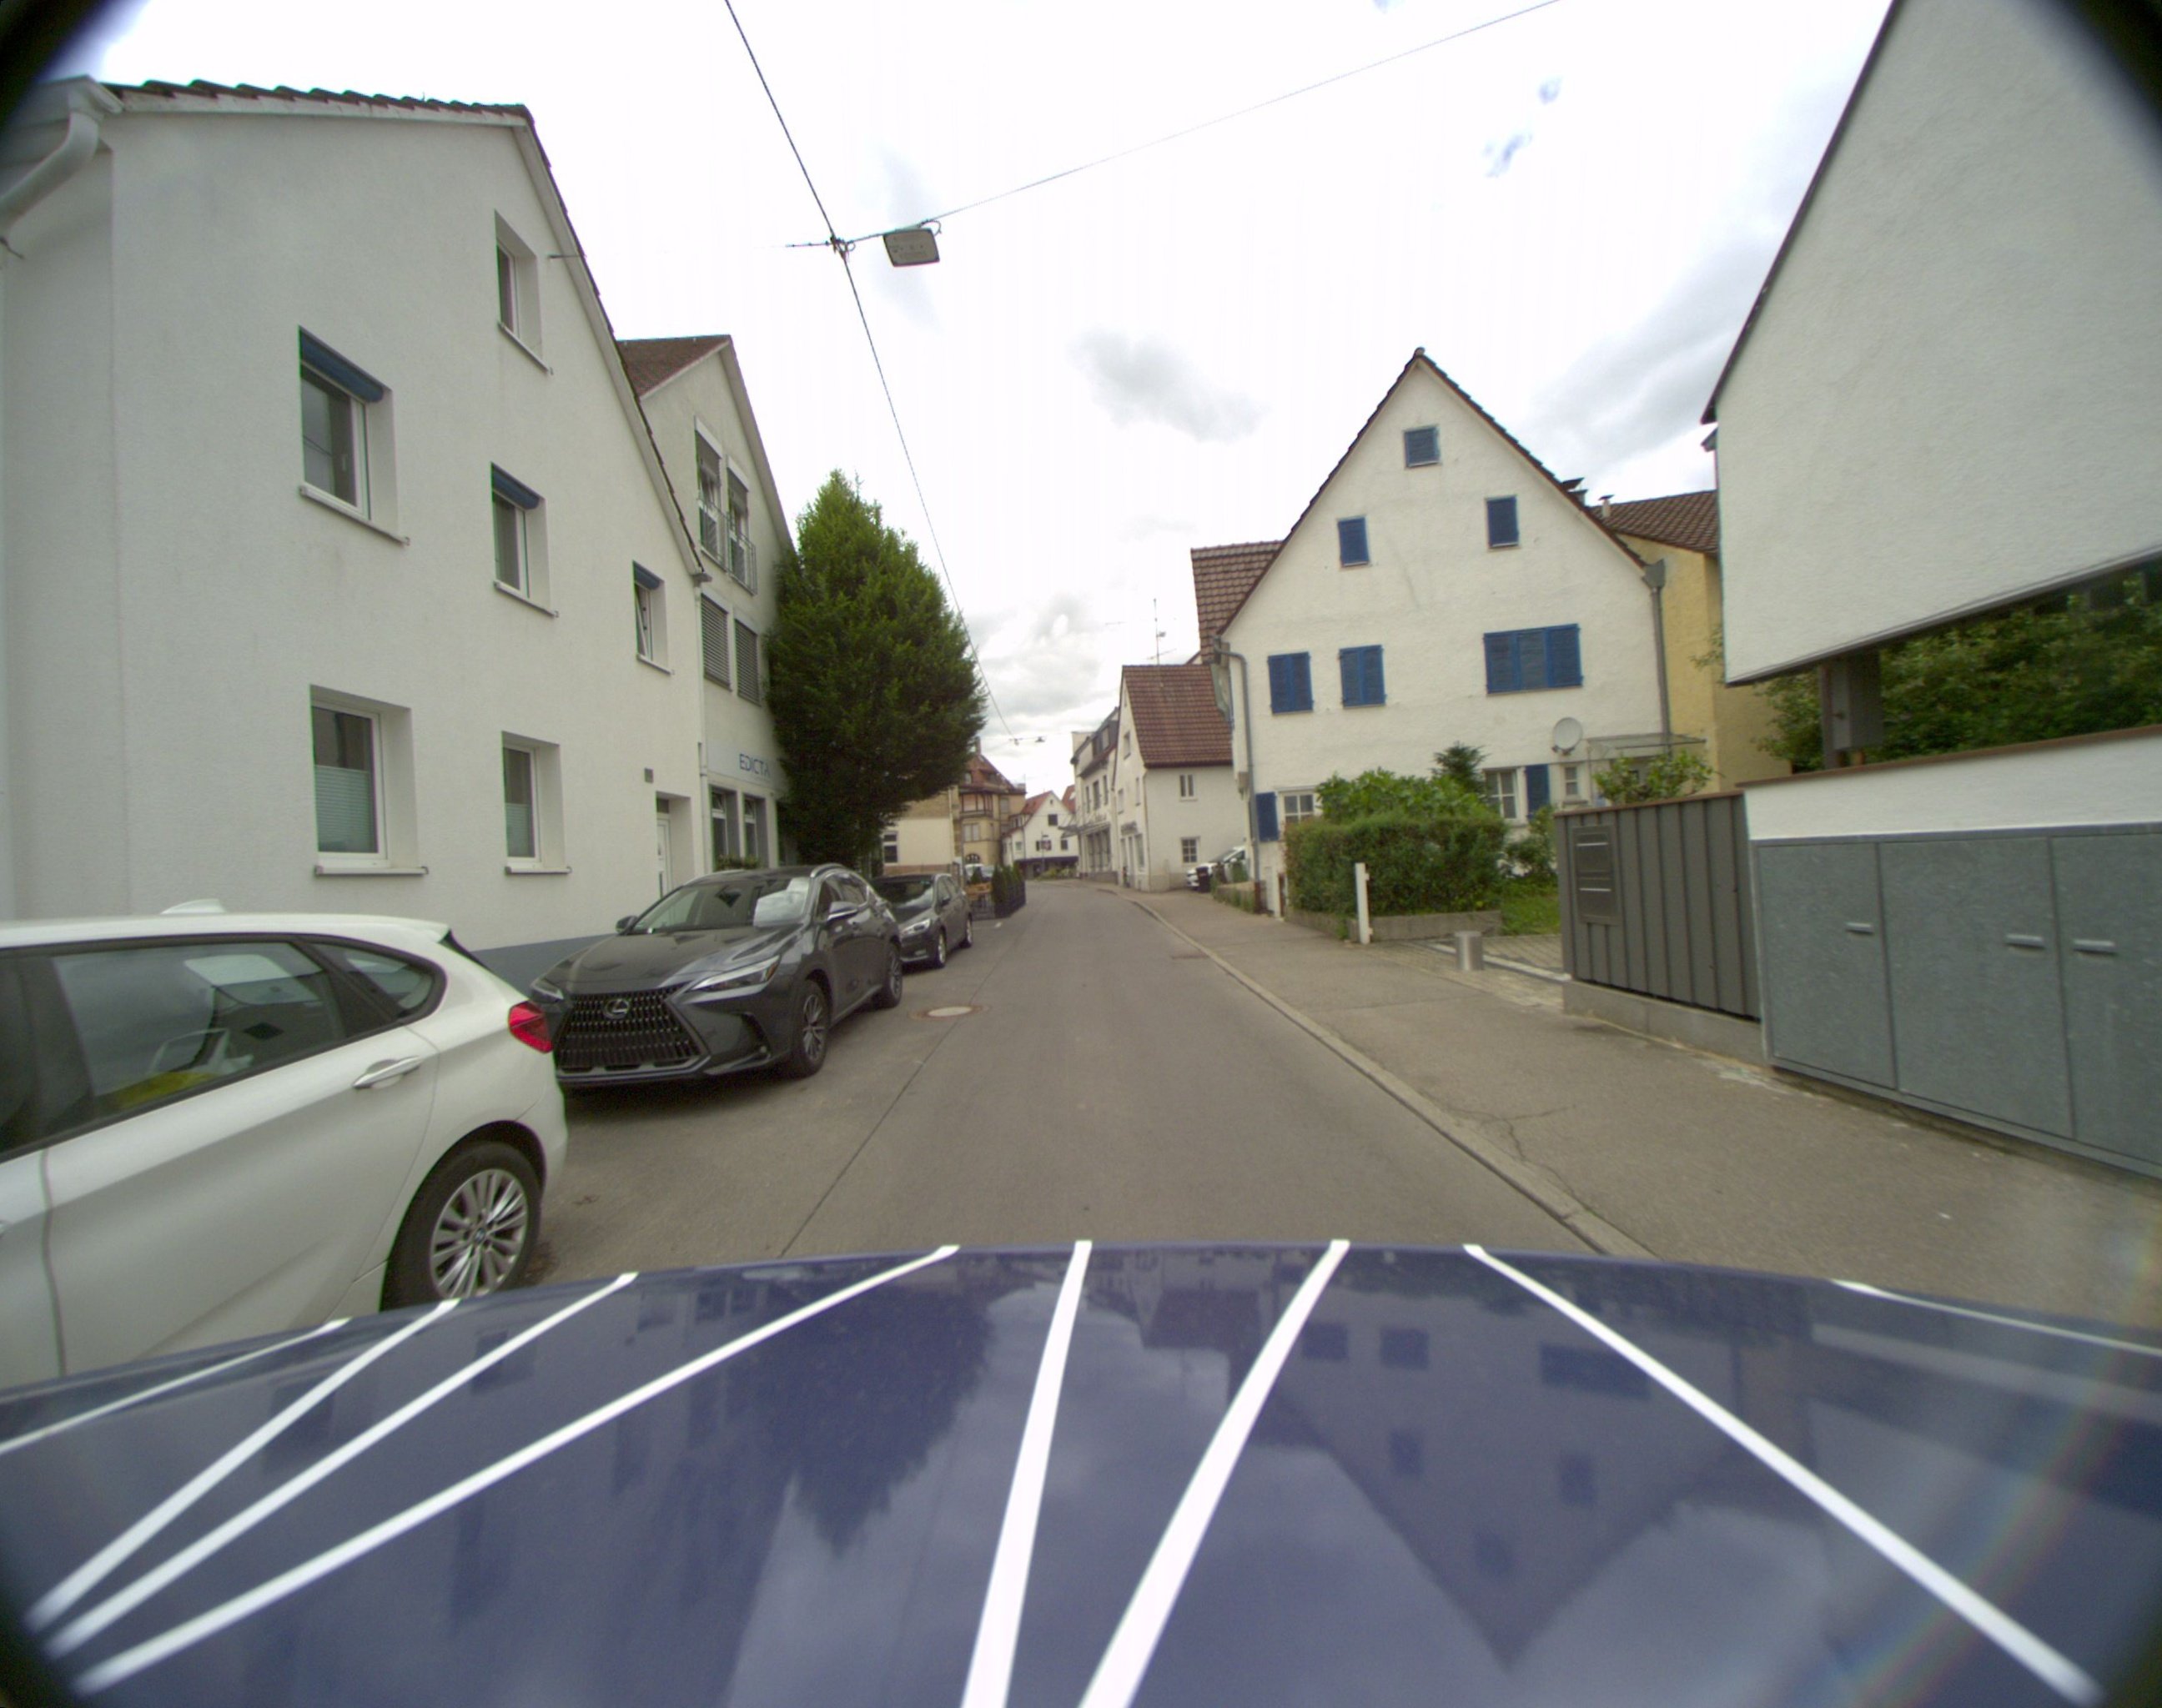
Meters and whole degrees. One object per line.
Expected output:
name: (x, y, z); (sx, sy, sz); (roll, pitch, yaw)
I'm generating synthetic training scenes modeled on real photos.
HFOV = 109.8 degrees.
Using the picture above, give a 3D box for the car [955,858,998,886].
car: (-7.395, 1.264, 53.536); (1.833, 1.781, 4.211); (-4, -1, -23)

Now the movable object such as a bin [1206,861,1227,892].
movable object such as a bin: (4.653, 0.764, 26.065); (0.570, 0.994, 0.600); (-8, -2, 9)

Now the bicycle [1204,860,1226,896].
bicycle: (4.369, 0.755, 24.667); (0.443, 1.032, 2.094); (-7, -2, 14)

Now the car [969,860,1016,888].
car: (-5.723, 1.296, 48.717); (1.795, 1.591, 4.534); (-4, 0, -22)

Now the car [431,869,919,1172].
car: (-2.970, 1.055, 7.055); (1.868, 1.624, 4.900); (-3, 0, -1)

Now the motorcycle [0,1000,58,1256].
motorcycle: (-5.536, 1.329, 2.675); (0.820, 1.166, 2.170); (-2, 1, 3)

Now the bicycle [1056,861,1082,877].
bicycle: (-1.030, 1.244, 64.221); (1.983, 1.232, 0.743); (-3, -1, -27)

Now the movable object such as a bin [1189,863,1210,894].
movable object such as a bin: (4.054, 0.833, 25.909); (0.554, 0.994, 0.587); (-8, -2, 10)

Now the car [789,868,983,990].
car: (-3.031, 1.096, 13.037); (1.953, 1.499, 4.820); (-4, 0, 1)

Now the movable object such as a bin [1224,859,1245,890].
movable object such as a bin: (5.231, 0.691, 25.914); (0.556, 0.994, 0.623); (-9, -1, 9)

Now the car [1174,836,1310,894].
car: (6.093, 0.393, 29.047); (4.550, 1.492, 1.976); (-8, 3, -6)

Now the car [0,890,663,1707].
car: (-3.087, 1.046, 1.170); (1.998, 1.606, 4.879); (-4, 0, 1)
